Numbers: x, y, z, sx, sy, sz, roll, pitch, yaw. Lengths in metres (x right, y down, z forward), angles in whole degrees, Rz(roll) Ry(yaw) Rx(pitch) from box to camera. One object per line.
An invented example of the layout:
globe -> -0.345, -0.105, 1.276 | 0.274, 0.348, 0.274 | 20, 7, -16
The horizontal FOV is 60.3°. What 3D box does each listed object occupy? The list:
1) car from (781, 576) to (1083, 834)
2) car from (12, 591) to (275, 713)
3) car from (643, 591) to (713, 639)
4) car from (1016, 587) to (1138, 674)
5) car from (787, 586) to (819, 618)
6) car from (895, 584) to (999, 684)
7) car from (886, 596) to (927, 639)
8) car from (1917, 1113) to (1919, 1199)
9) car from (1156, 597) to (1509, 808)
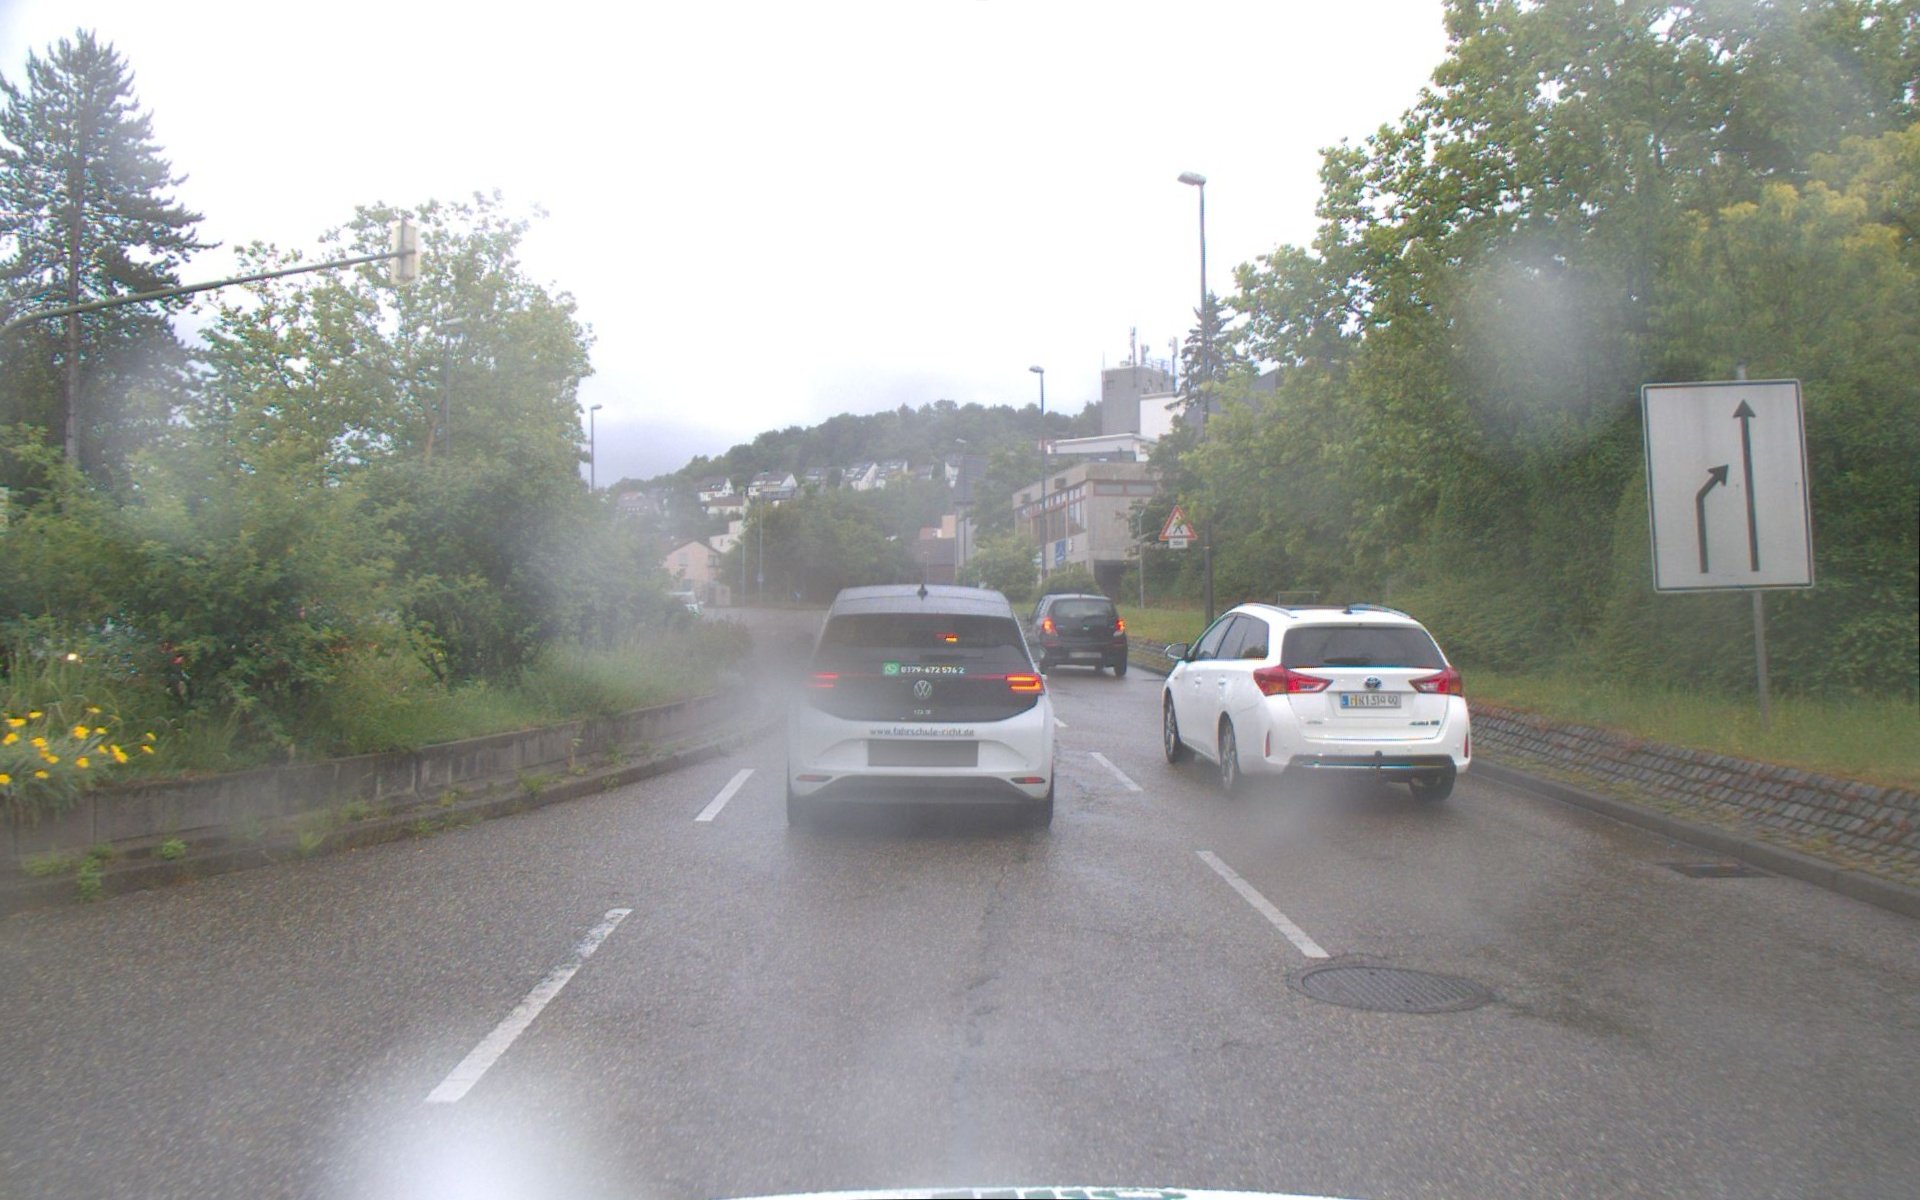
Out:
car -> -0.198, 0.656, 11.973 | 1.791, 1.526, 4.167 | 1, -1, -1
car -> -11.779, 0.697, 24.183 | 1.953, 1.606, 3.998 | -1, 0, -2
car -> -10.550, 0.552, 62.160 | 1.953, 1.691, 4.596 | -1, 0, -2
car -> 2.166, 0.575, 31.570 | 1.953, 1.478, 3.770 | -2, -1, -1
car -> -10.594, 0.175, 111.826 | 1.954, 2.049, 3.997 | 1, -1, -3
car -> -0.279, 0.515, 27.622 | 1.536, 1.557, 3.997 | 0, 0, -3
car -> -2.602, 0.874, 81.364 | 1.953, 2.049, 3.999 | 1, -1, -1
car -> 3.398, 0.765, 1.830 | 1.914, 1.534, 4.607 | 2, -1, -1
car -> 2.824, 0.735, 13.537 | 1.811, 1.434, 4.300 | 1, -1, -2
